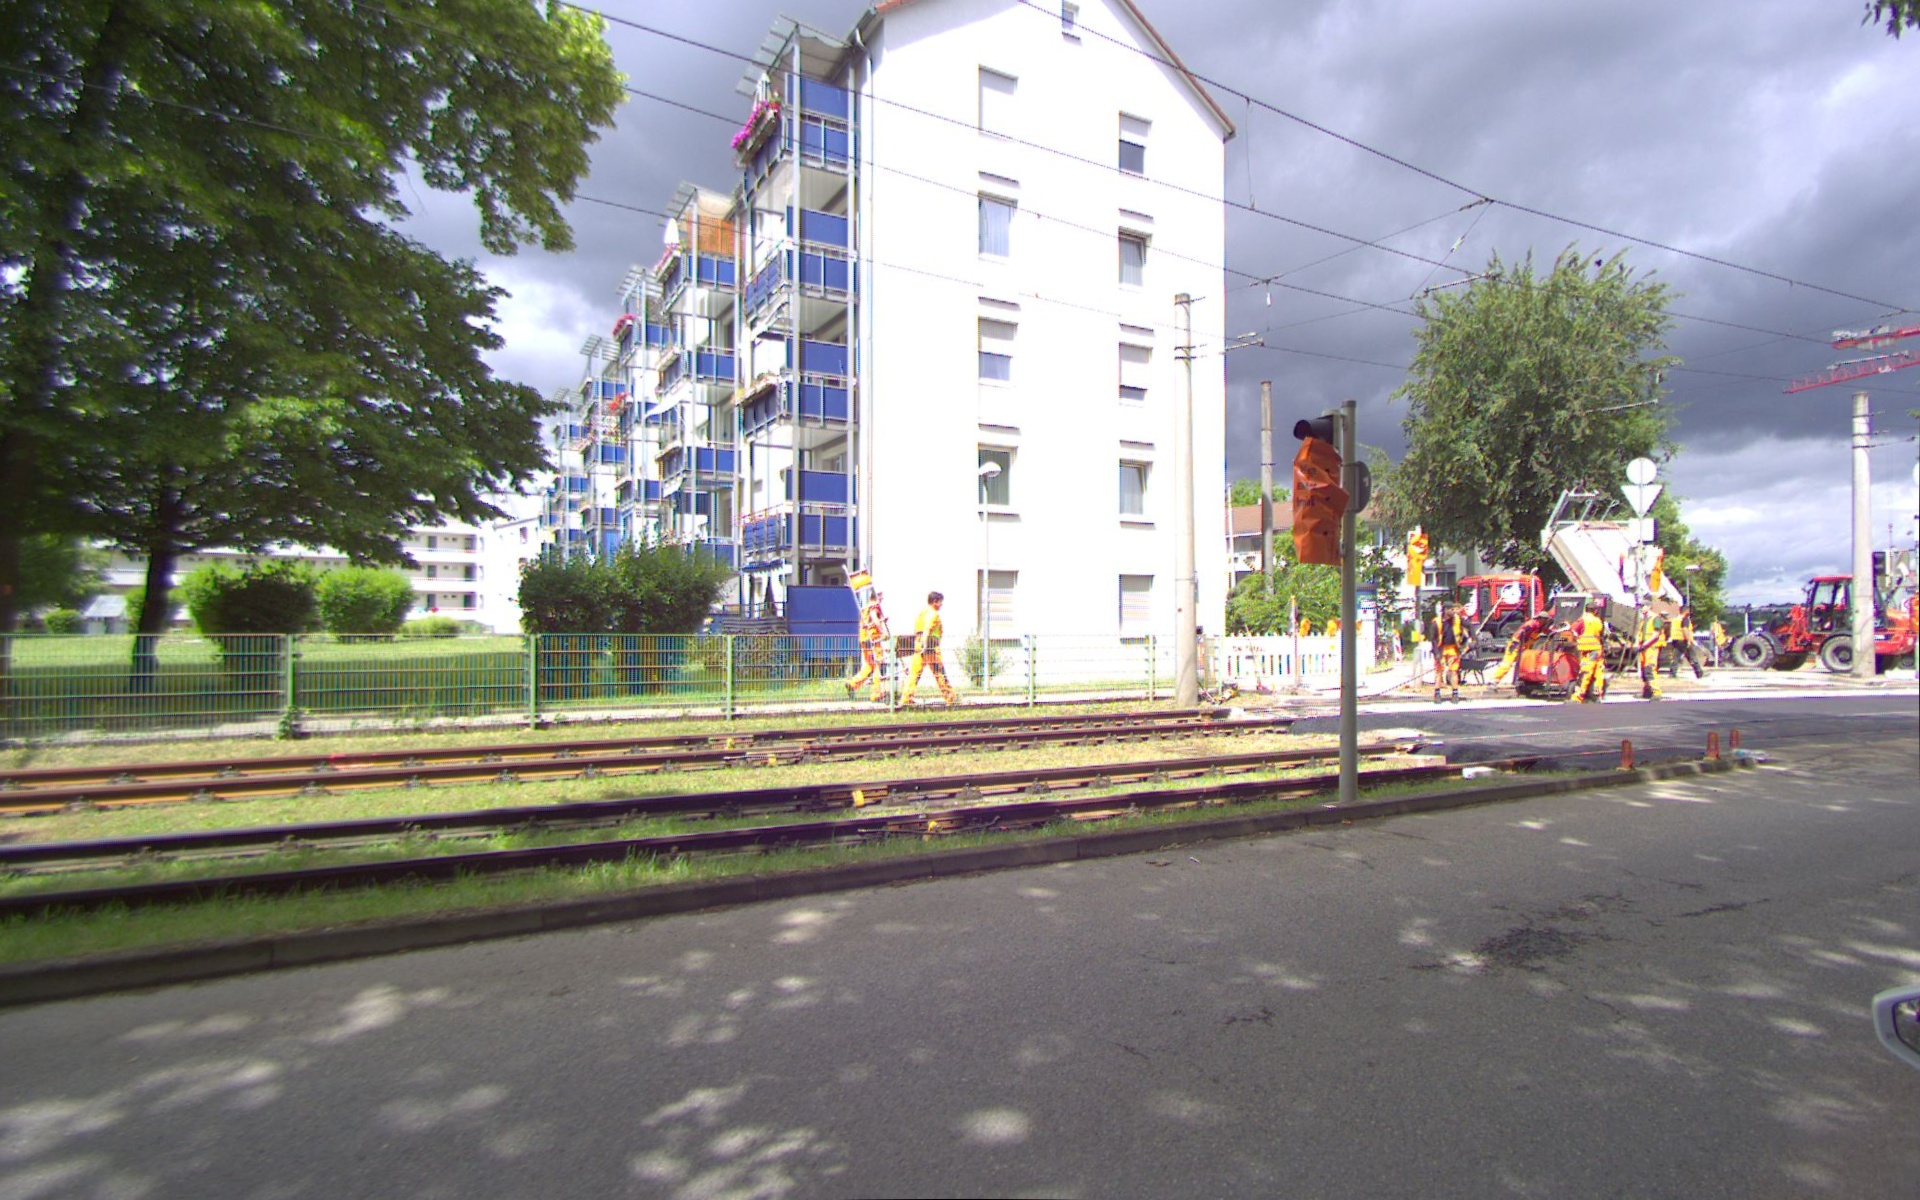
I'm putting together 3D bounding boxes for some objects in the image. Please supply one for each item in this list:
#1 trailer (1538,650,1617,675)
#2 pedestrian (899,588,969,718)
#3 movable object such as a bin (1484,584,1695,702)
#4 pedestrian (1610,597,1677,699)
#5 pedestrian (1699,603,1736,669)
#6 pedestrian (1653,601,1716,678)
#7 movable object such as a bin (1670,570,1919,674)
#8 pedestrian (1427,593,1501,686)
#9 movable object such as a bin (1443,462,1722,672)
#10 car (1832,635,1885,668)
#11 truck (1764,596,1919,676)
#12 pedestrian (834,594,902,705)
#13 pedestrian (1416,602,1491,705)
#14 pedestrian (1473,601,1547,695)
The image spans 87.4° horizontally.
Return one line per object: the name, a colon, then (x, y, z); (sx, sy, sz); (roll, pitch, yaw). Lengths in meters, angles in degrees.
trailer: (15.864, 1.594, 25.830); (1.567, 0.624, 0.797); (0, -2, -6)
pedestrian: (-0.403, 0.797, 15.497); (0.870, 1.933, 0.662); (1, -1, -30)
movable object such as a bin: (11.742, 0.774, 18.816); (2.923, 2.040, 1.991); (0, -2, -21)
pedestrian: (12.854, 0.899, 18.893); (0.760, 1.863, 0.777); (1, -2, -32)
pedestrian: (21.203, 1.010, 28.130); (0.604, 1.812, 0.578); (-1, -1, -26)
pedestrian: (17.763, 0.960, 24.634); (0.954, 1.857, 0.795); (1, 0, -10)
movable object such as a bin: (24.045, 0.608, 28.992); (2.086, 2.704, 5.555); (1, -1, -24)
pedestrian: (10.385, 0.809, 20.746); (0.859, 1.848, 1.094); (0, -1, -12)
movable object such as a bin: (18.620, -0.721, 31.074); (2.766, 5.557, 9.036); (0, -2, -1)
car: (42.222, 2.409, 47.164); (1.753, 1.478, 3.854); (-2, -3, 43)
truck: (31.531, 1.267, 34.530); (2.386, 2.601, 5.551); (1, -4, -25)
pedestrian: (-1.461, 0.767, 15.966); (0.870, 1.705, 0.662); (1, -1, -30)
pedestrian: (8.622, 0.919, 17.556); (0.902, 1.739, 0.752); (0, 0, -9)
pedestrian: (10.517, 0.904, 19.233); (0.904, 1.739, 0.856); (0, 0, -19)
